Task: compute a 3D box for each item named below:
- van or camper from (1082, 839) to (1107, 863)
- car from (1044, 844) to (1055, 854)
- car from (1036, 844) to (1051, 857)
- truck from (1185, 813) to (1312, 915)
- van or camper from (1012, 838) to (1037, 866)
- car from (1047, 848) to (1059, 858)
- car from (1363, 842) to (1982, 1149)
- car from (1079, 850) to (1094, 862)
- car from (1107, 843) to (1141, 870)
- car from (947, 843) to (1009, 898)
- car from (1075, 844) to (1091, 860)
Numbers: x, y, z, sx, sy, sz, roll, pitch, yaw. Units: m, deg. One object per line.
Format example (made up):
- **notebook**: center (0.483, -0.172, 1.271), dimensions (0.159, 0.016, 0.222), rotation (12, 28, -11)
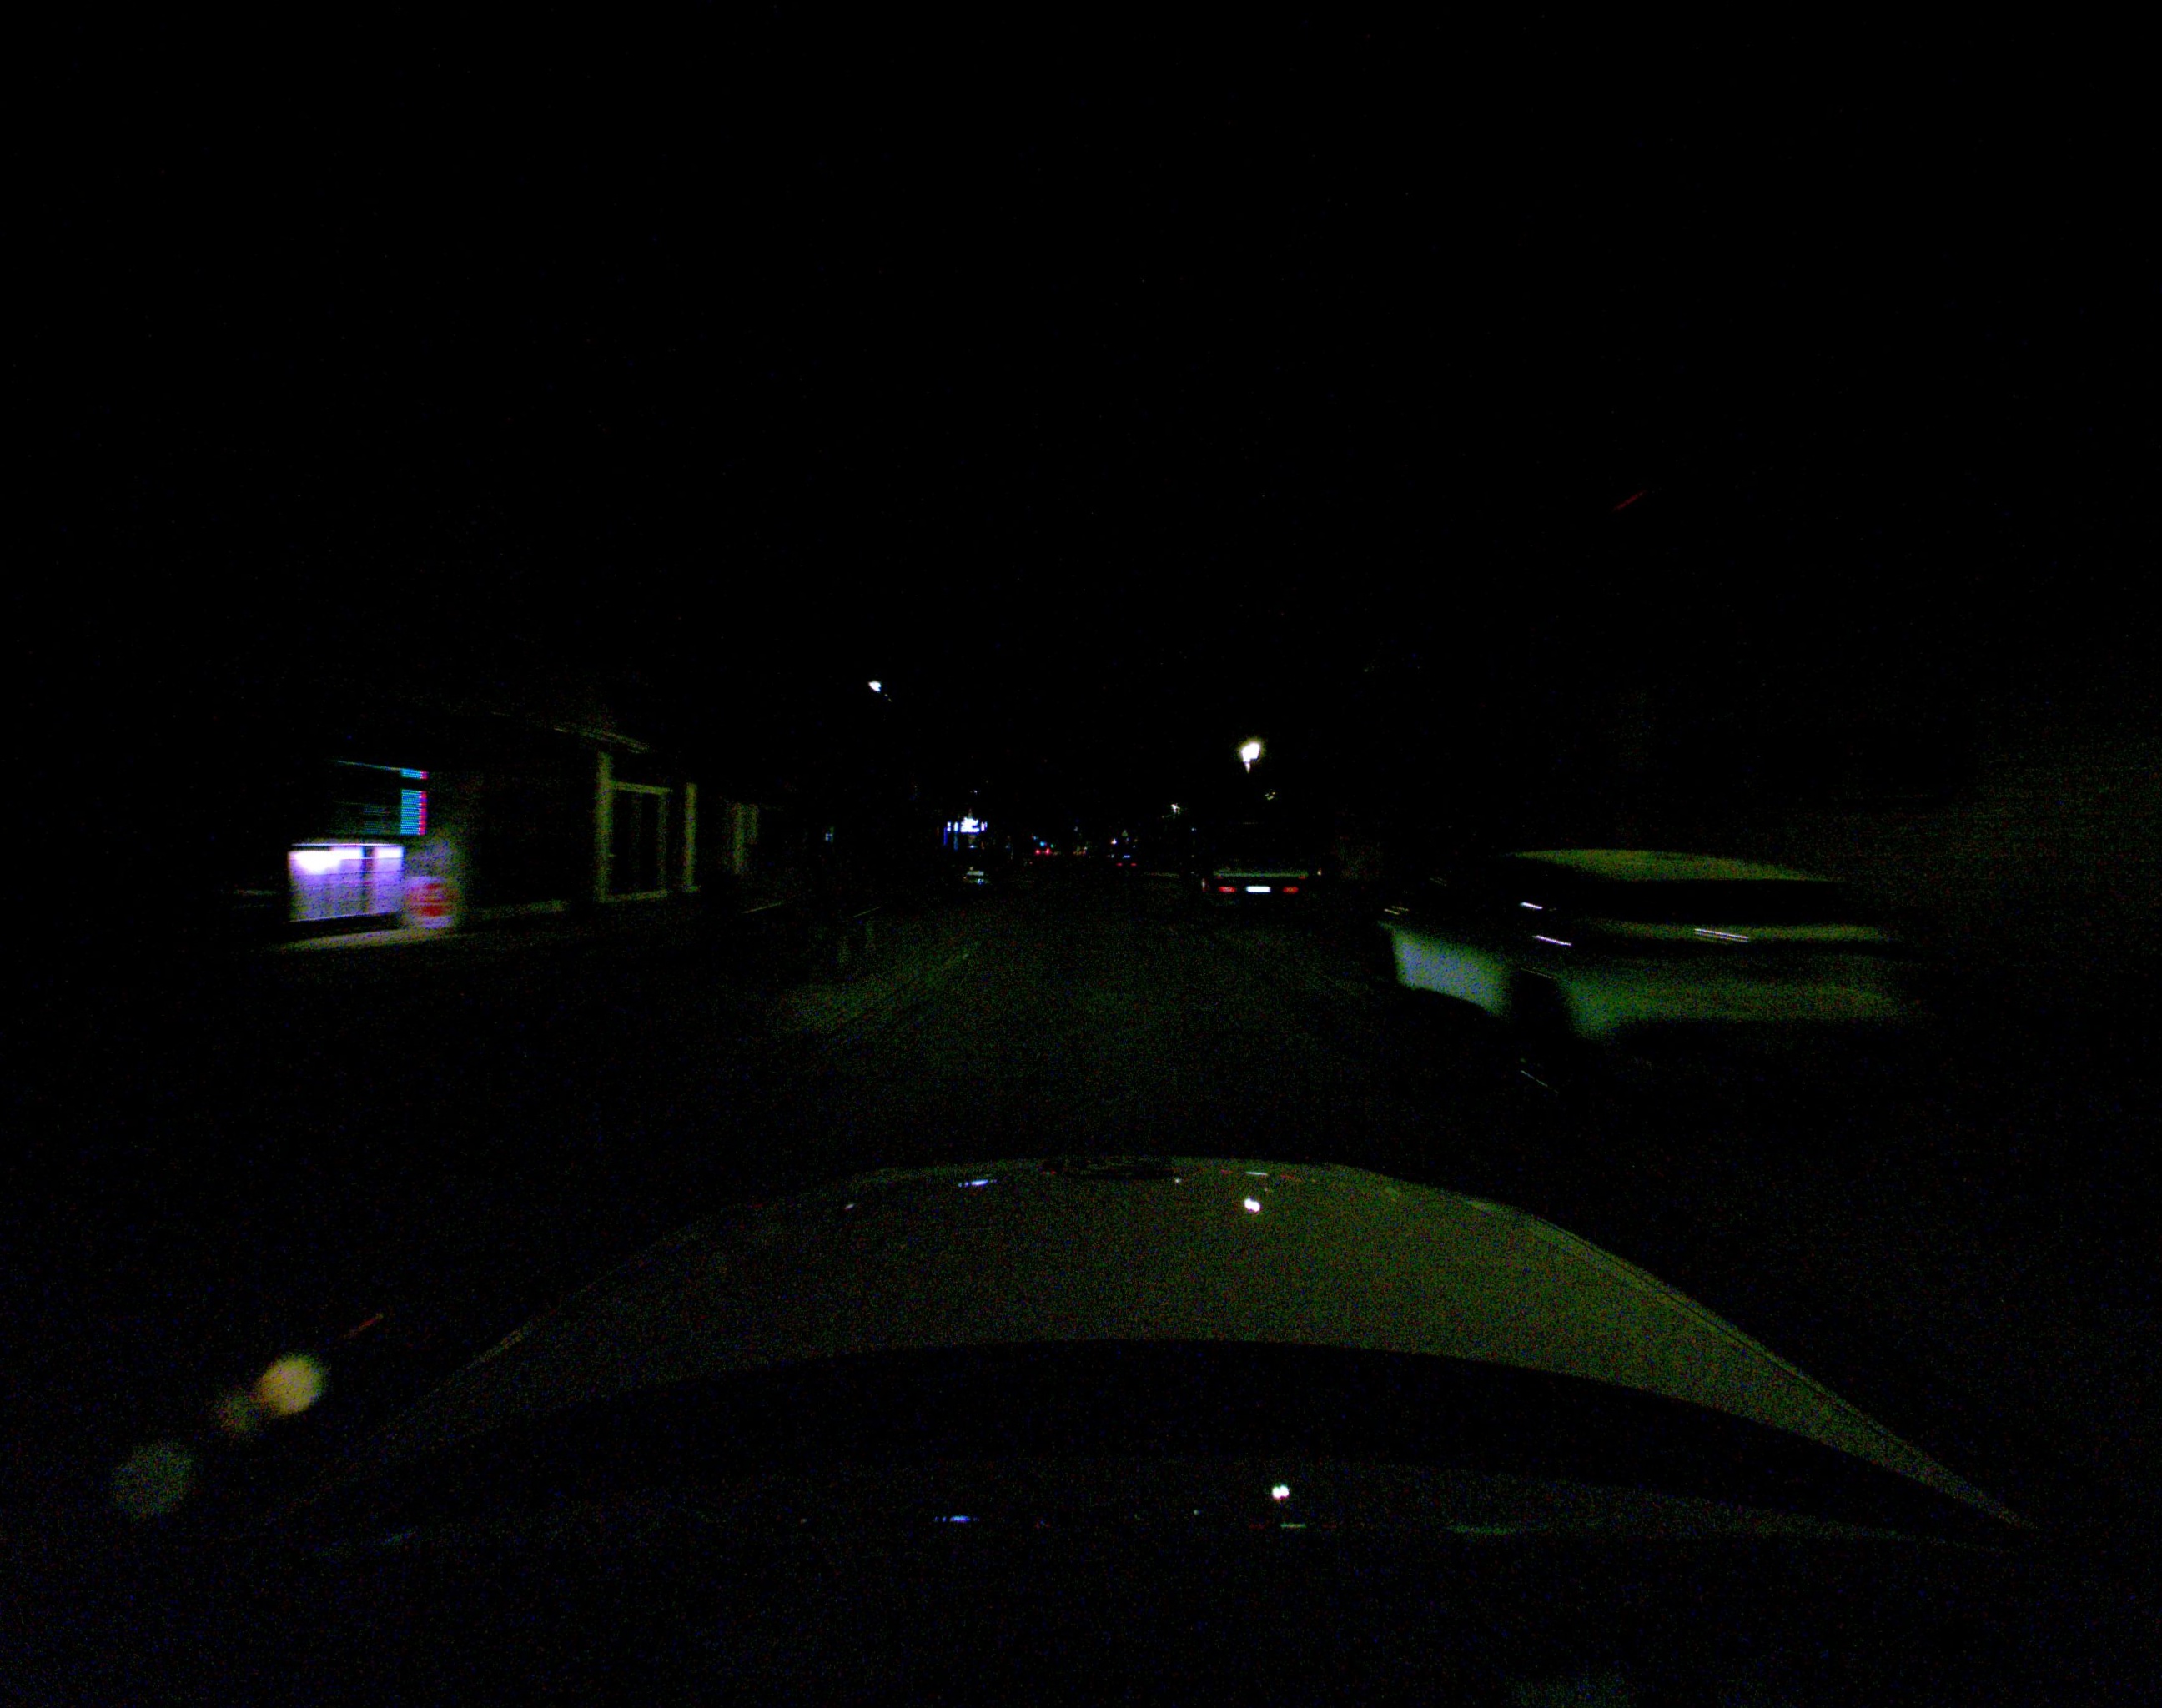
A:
- **van or camper**: center (1.353, -0.302, 82.946), dimensions (2.105, 2.317, 4.255), rotation (0, 0, -5)
- **car**: center (-6.320, -1.028, 161.239), dimensions (1.990, 1.823, 3.994), rotation (1, 0, -5)
- **car**: center (-5.562, -0.575, 120.287), dimensions (1.991, 1.823, 3.992), rotation (1, 0, -6)
- **truck**: center (4.203, 0.203, 21.553), dimensions (2.328, 2.312, 5.783), rotation (1, 0, 1)
- **van or camper**: center (-4.446, -0.175, 63.750), dimensions (1.863, 2.011, 4.255), rotation (3, 0, -5)
- **car**: center (-4.503, -0.187, 129.125), dimensions (1.835, 1.542, 3.841), rotation (1, 0, -3)
- **car**: center (3.582, 0.681, 6.010), dimensions (1.782, 1.491, 4.062), rotation (0, 0, 3)
- **car**: center (0.665, 0.210, 95.575), dimensions (1.528, 1.418, 3.841), rotation (1, 0, -3)
- **car**: center (2.977, 0.158, 56.920), dimensions (1.811, 1.828, 4.341), rotation (1, 0, -4)
- **car**: center (-3.209, 0.476, 26.014), dimensions (1.670, 1.543, 4.225), rotation (2, 0, -4)
- **car**: center (0.251, -0.283, 101.725), dimensions (1.835, 1.901, 3.841), rotation (1, 0, -3)
